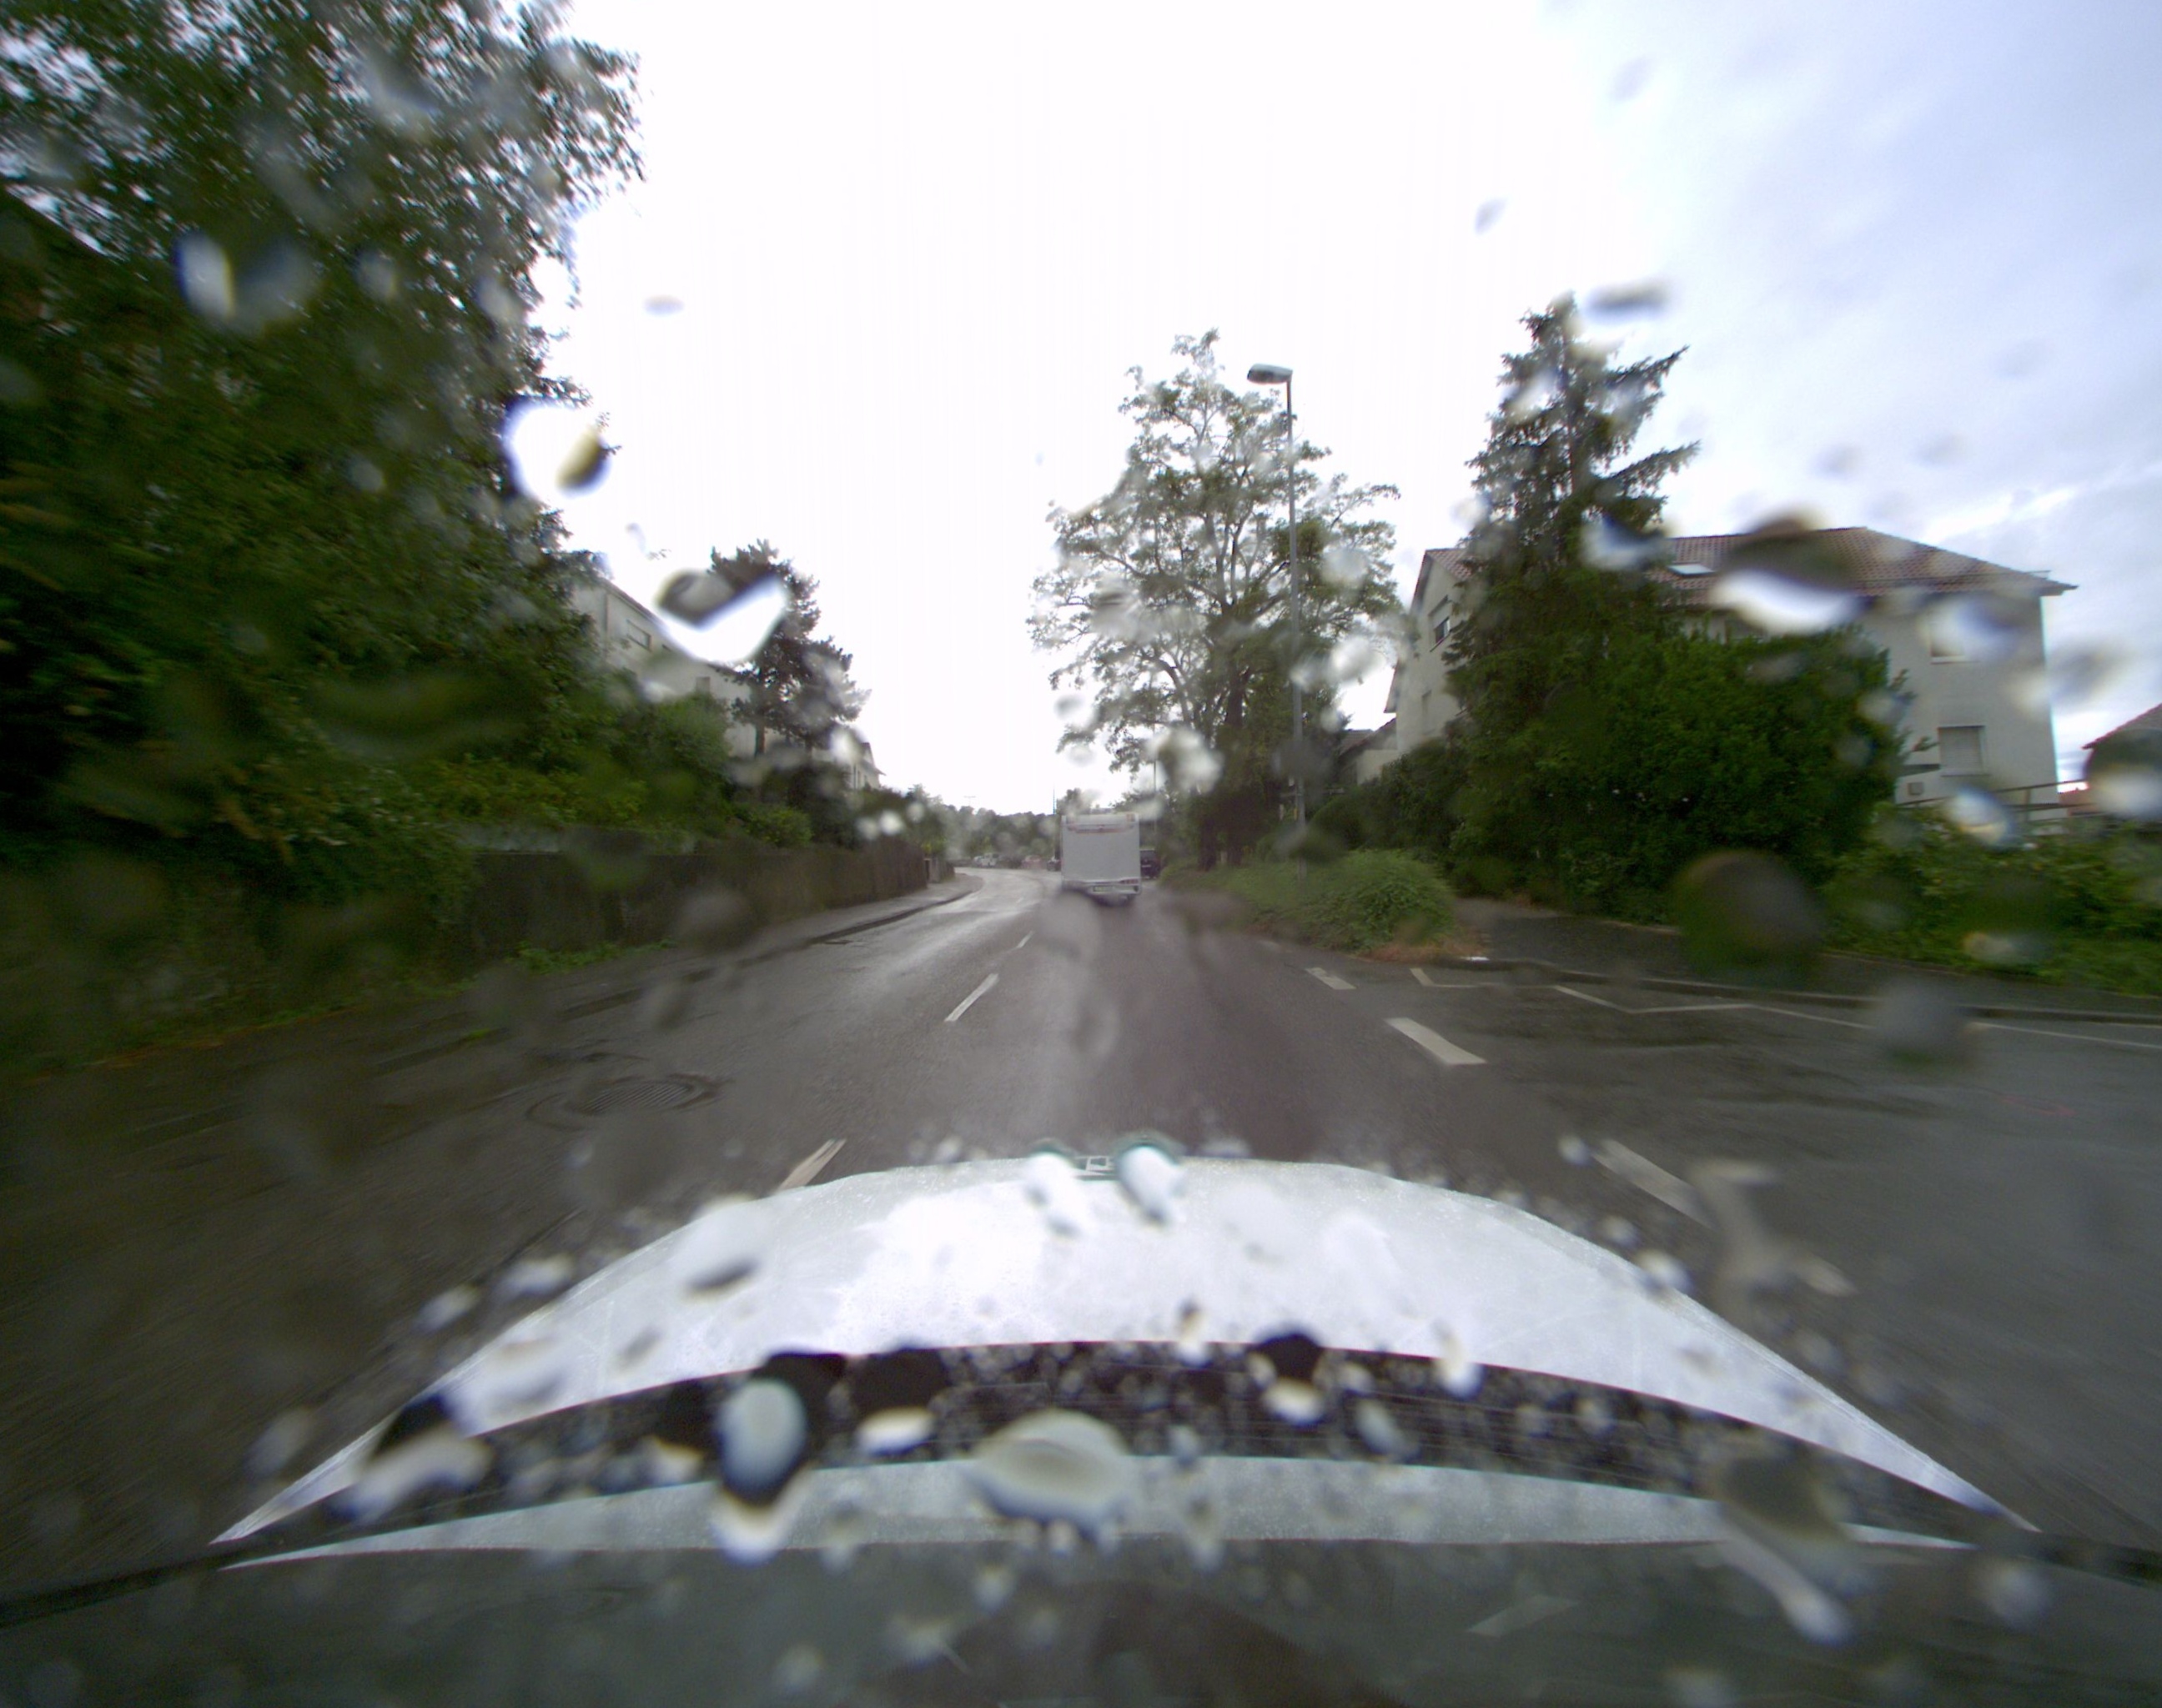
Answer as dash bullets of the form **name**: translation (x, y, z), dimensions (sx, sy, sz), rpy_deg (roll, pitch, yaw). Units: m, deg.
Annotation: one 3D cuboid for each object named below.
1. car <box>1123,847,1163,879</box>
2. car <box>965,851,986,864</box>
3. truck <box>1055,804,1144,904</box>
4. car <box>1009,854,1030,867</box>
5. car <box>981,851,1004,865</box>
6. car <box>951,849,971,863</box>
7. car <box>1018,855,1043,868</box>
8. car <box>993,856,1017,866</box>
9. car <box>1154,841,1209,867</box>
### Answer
- **car**: translation (3.331, 0.459, 44.575), dimensions (1.986, 1.640, 4.002), rpy_deg (-1, 0, 2)
- **car**: translation (-13.991, 0.487, 107.629), dimensions (1.653, 1.720, 3.968), rpy_deg (0, 0, -24)
- **truck**: translation (0.465, 0.003, 26.094), dimensions (2.508, 2.817, 6.198), rpy_deg (-1, 0, -1)
- **car**: translation (-6.996, 0.730, 91.851), dimensions (1.543, 1.326, 3.977), rpy_deg (-1, 0, -16)
- **car**: translation (-11.133, 0.521, 102.203), dimensions (1.653, 1.720, 3.968), rpy_deg (0, 0, -24)
- **car**: translation (-17.456, 0.317, 118.582), dimensions (1.748, 2.044, 4.478), rpy_deg (0, 0, -24)
- **car**: translation (-5.424, 0.771, 87.068), dimensions (1.546, 1.326, 3.836), rpy_deg (0, 0, -22)
- **car**: translation (-9.086, 0.824, 97.426), dimensions (1.653, 1.100, 3.968), rpy_deg (-1, 0, -24)
- **car**: translation (7.177, 0.024, 58.517), dimensions (3.615, 1.664, 1.998), rpy_deg (2, -3, -3)
